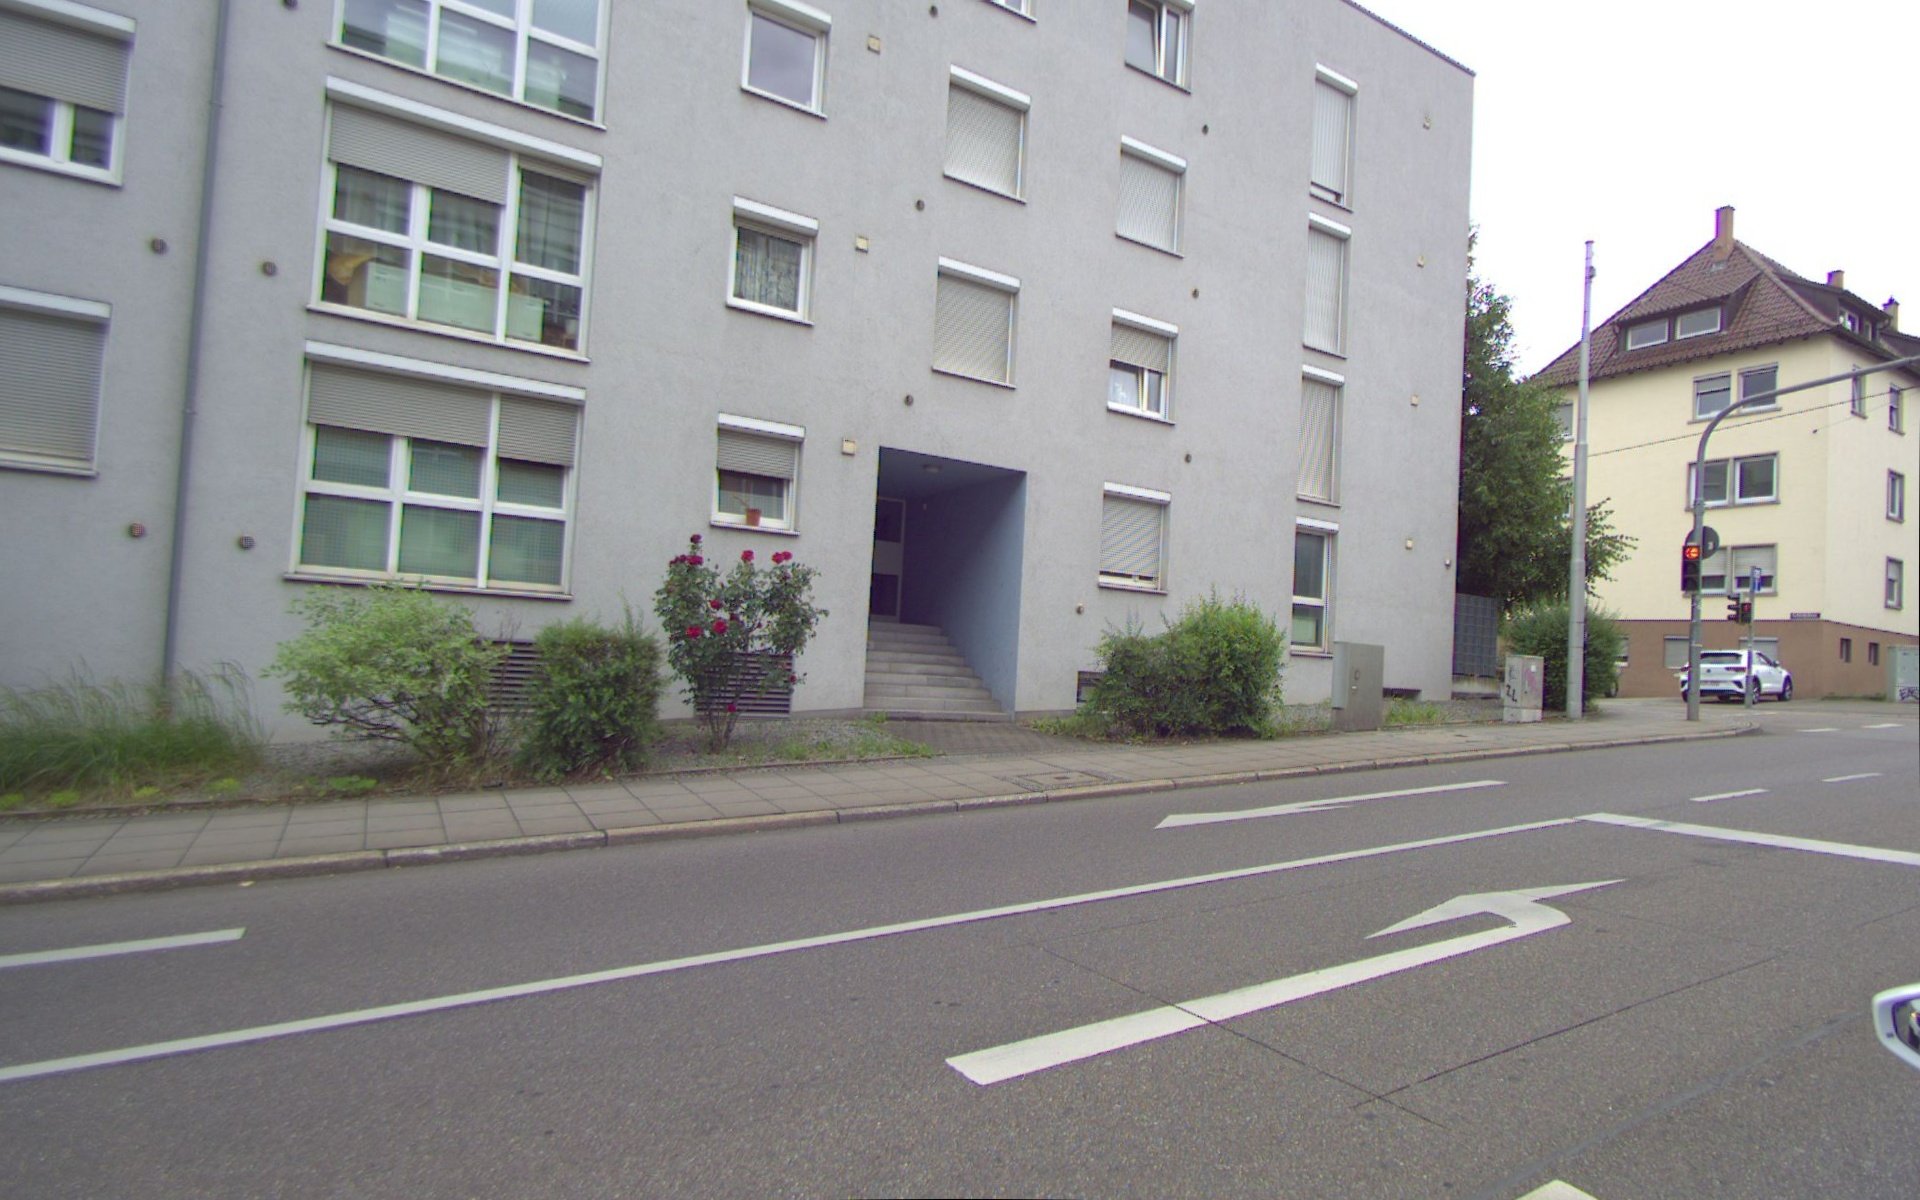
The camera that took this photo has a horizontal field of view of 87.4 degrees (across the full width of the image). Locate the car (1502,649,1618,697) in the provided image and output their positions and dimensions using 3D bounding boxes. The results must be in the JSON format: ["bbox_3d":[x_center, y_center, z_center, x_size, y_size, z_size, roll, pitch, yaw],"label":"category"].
[{"bbox_3d":[20.628,2.504,34.516,4.053,1.566,1.662,2,-4,-30],"label":"car"}]

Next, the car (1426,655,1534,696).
[{"bbox_3d":[19.015,2.725,36.668,3.953,1.380,1.662,2,-1,-30],"label":"car"}]

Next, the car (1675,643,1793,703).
[{"bbox_3d":[23.229,2.161,30.102,3.960,1.683,1.660,2,-4,-35],"label":"car"}]
